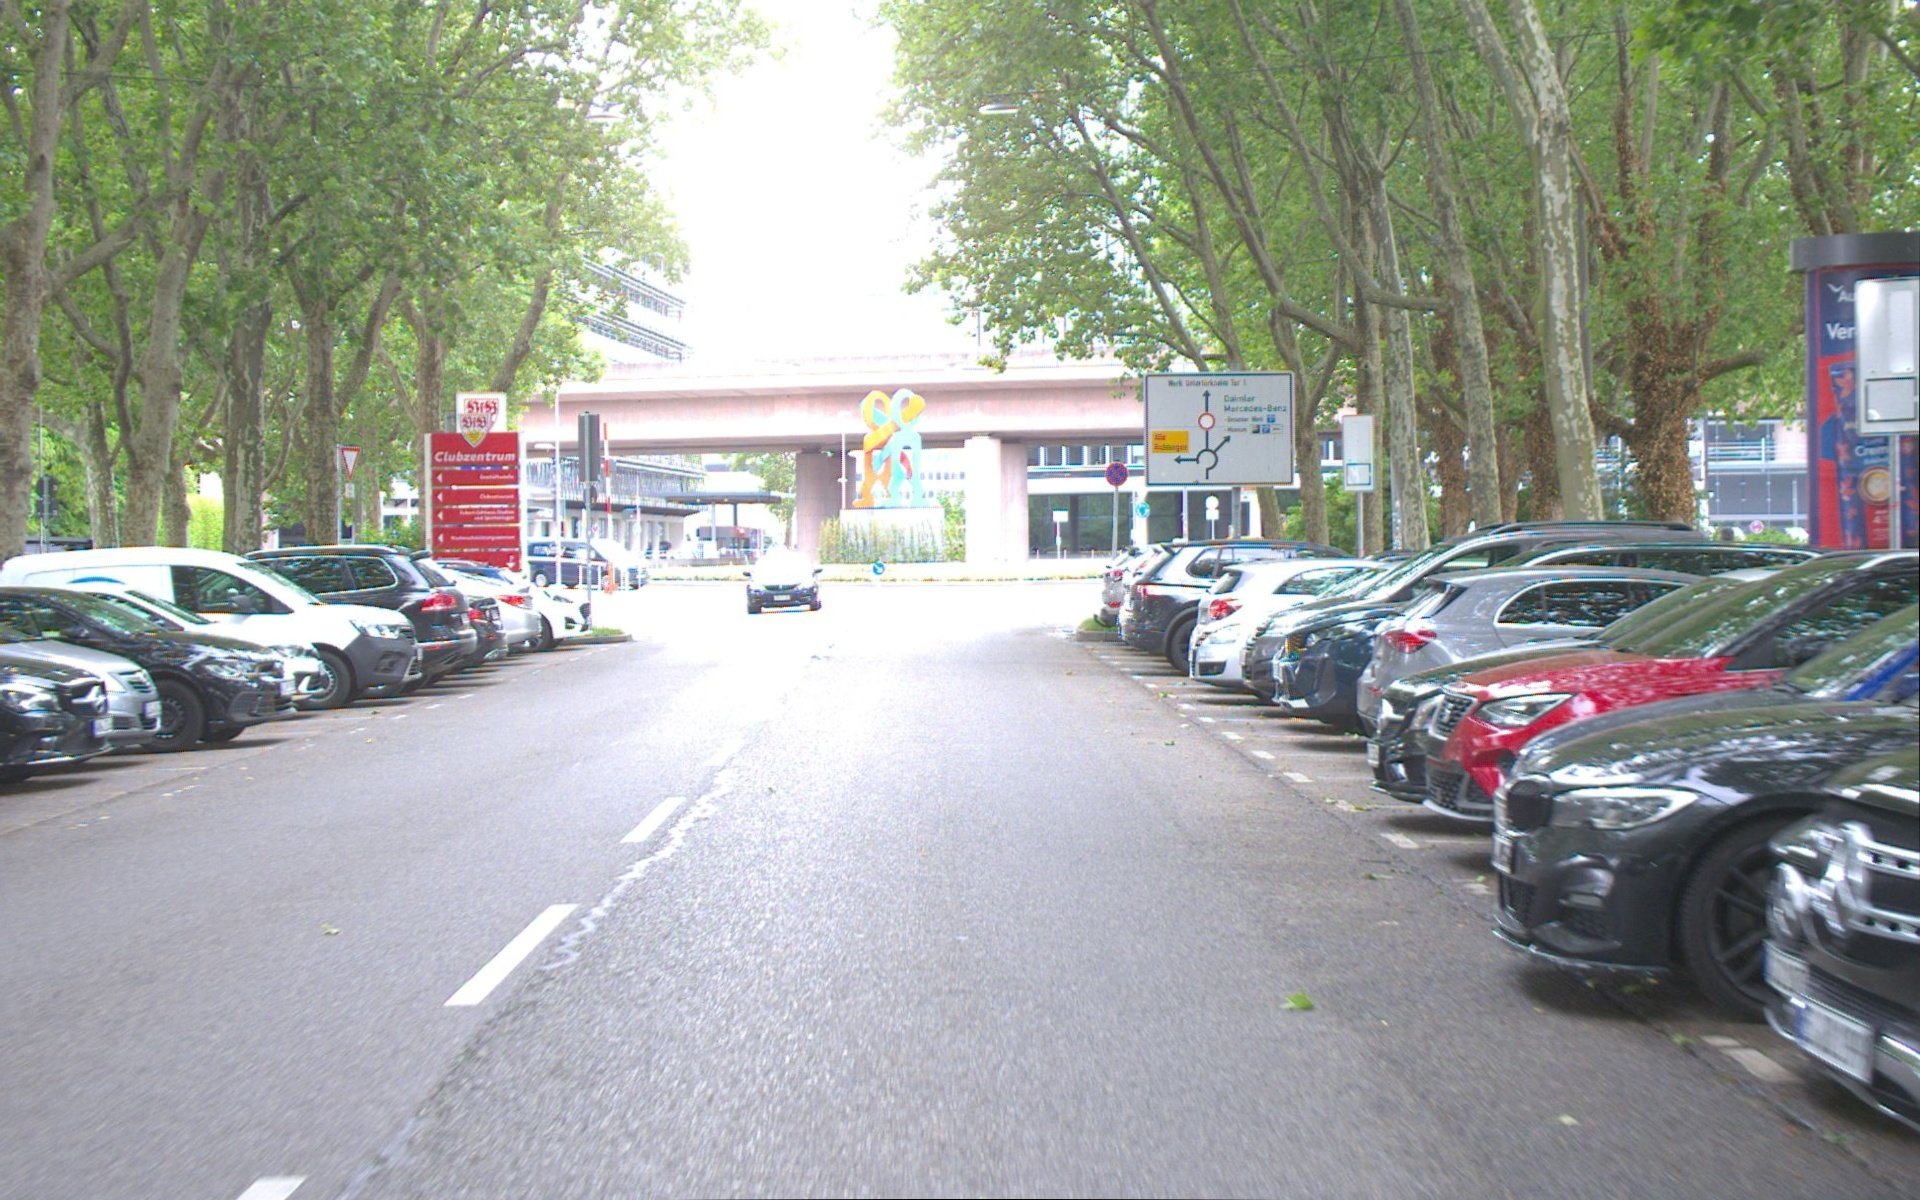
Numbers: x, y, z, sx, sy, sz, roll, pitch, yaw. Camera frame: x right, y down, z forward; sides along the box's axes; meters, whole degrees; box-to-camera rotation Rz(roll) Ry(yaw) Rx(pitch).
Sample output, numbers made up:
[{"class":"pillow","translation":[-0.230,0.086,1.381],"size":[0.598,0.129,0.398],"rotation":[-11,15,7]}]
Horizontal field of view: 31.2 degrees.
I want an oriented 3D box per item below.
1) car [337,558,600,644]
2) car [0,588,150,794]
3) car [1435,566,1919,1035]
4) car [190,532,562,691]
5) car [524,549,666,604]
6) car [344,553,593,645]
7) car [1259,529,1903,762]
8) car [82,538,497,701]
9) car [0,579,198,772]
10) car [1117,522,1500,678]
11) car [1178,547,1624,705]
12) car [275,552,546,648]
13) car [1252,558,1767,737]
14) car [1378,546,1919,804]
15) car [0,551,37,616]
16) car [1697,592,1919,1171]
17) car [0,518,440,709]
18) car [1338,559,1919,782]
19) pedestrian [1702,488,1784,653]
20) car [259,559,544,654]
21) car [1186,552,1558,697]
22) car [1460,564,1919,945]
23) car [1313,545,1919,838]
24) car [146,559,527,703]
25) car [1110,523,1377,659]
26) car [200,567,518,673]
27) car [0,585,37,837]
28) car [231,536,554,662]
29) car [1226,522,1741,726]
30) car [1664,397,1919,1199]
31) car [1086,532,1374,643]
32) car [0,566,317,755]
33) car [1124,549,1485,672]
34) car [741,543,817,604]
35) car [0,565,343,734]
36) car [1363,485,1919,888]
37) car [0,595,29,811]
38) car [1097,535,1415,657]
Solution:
[{"class":"car","translation":[-8.084,0.011,56.722],"size":[3.994,1.380,1.911],"rotation":[0,0,3]},{"class":"car","translation":[-8.213,0.685,24.283],"size":[4.463,1.343,1.901],"rotation":[-2,1,2]},{"class":"car","translation":[3.989,0.635,11.595],"size":[4.495,1.423,1.932],"rotation":[1,1,1]},{"class":"car","translation":[-7.348,0.124,43.538],"size":[4.317,1.804,1.868],"rotation":[-2,1,0]},{"class":"car","translation":[-13.707,-0.884,129.068],"size":[4.773,2.007,2.281],"rotation":[0,0,21]},{"class":"car","translation":[-8.430,-0.022,59.135],"size":[3.994,1.535,1.805],"rotation":[0,0,1]},{"class":"car","translation":[4.655,0.314,26.293],"size":[4.591,1.633,1.872],"rotation":[1,1,2]},{"class":"car","translation":[-7.562,0.210,39.083],"size":[4.317,1.789,2.037],"rotation":[0,0,0]},{"class":"car","translation":[-8.330,0.617,26.476],"size":[4.463,1.365,1.880],"rotation":[-2,1,0]},{"class":"car","translation":[4.143,-0.019,41.393],"size":[4.346,1.755,1.926],"rotation":[1,1,-1]},{"class":"car","translation":[4.285,0.236,33.819],"size":[4.148,1.453,1.727],"rotation":[1,1,0]},{"class":"car","translation":[-8.623,-0.008,54.191],"size":[3.994,1.488,1.832],"rotation":[0,0,0]},{"class":"car","translation":[4.555,0.373,28.919],"size":[4.040,1.375,1.744],"rotation":[1,1,0]},{"class":"car","translation":[4.951,0.448,21.706],"size":[4.346,1.497,1.926],"rotation":[1,1,-1]},{"class":"car","translation":[-24.085,-0.399,81.252],"size":[3.987,1.517,2.002],"rotation":[0,0,0]},{"class":"car","translation":[4.148,0.714,9.195],"size":[3.984,1.386,1.739],"rotation":[1,1,2]},{"class":"car","translation":[-7.826,0.115,36.565],"size":[4.317,1.804,1.868],"rotation":[-2,1,-4]},{"class":"car","translation":[4.916,0.465,23.909],"size":[4.346,1.408,1.926],"rotation":[1,1,0]},{"class":"pedestrian","translation":[9.637,-0.361,42.318],"size":[0.784,2.007,0.599],"rotation":[0,0,-16]},{"class":"car","translation":[-8.376,0.087,51.794],"size":[3.987,1.400,1.862],"rotation":[0,0,0]},{"class":"car","translation":[4.311,0.245,36.304],"size":[3.639,1.422,1.666],"rotation":[1,1,-3]},{"class":"car","translation":[4.406,0.603,13.959],"size":[4.495,1.415,1.829],"rotation":[1,1,2]},{"class":"car","translation":[4.322,0.484,19.220],"size":[4.345,1.497,1.926],"rotation":[1,1,-6]},{"class":"car","translation":[-7.481,0.357,41.526],"size":[4.129,1.447,2.013],"rotation":[-3,1,2]},{"class":"car","translation":[4.384,-0.161,53.726],"size":[3.987,2.007,2.000],"rotation":[1,1,0]},{"class":"car","translation":[-8.071,0.259,46.430],"size":[3.987,1.399,1.885],"rotation":[0,0,-1]},{"class":"car","translation":[-7.336,0.698,19.088],"size":[3.930,1.393,1.703],"rotation":[-2,1,-1]},{"class":"car","translation":[-8.051,-0.023,49.050],"size":[4.263,1.543,1.908],"rotation":[-3,1,-2]},{"class":"car","translation":[4.699,0.195,31.301],"size":[4.346,1.739,1.837],"rotation":[1,1,-2]},{"class":"car","translation":[3.894,0.553,6.912],"size":[4.495,1.790,2.048],"rotation":[1,1,0]},{"class":"car","translation":[4.187,-0.217,53.863],"size":[4.346,1.628,1.926],"rotation":[1,1,0]},{"class":"car","translation":[-7.604,0.527,28.824],"size":[3.979,1.416,1.755],"rotation":[-3,1,3]},{"class":"car","translation":[4.343,0.115,43.876],"size":[4.346,1.451,1.950],"rotation":[1,1,-2]},{"class":"car","translation":[-4.560,-0.676,86.992],"size":[1.842,1.504,4.015],"rotation":[0,0,-2]},{"class":"car","translation":[-8.037,0.475,33.872],"size":[3.781,1.467,1.765],"rotation":[-3,1,-11]},{"class":"car","translation":[4.396,0.381,16.578],"size":[4.494,1.790,2.048],"rotation":[1,1,-6]},{"class":"car","translation":[-8.387,0.773,21.731],"size":[4.463,1.361,1.860],"rotation":[-3,1,-1]},{"class":"car","translation":[4.179,-0.077,49.023],"size":[4.346,1.628,1.926],"rotation":[1,1,0]}]
